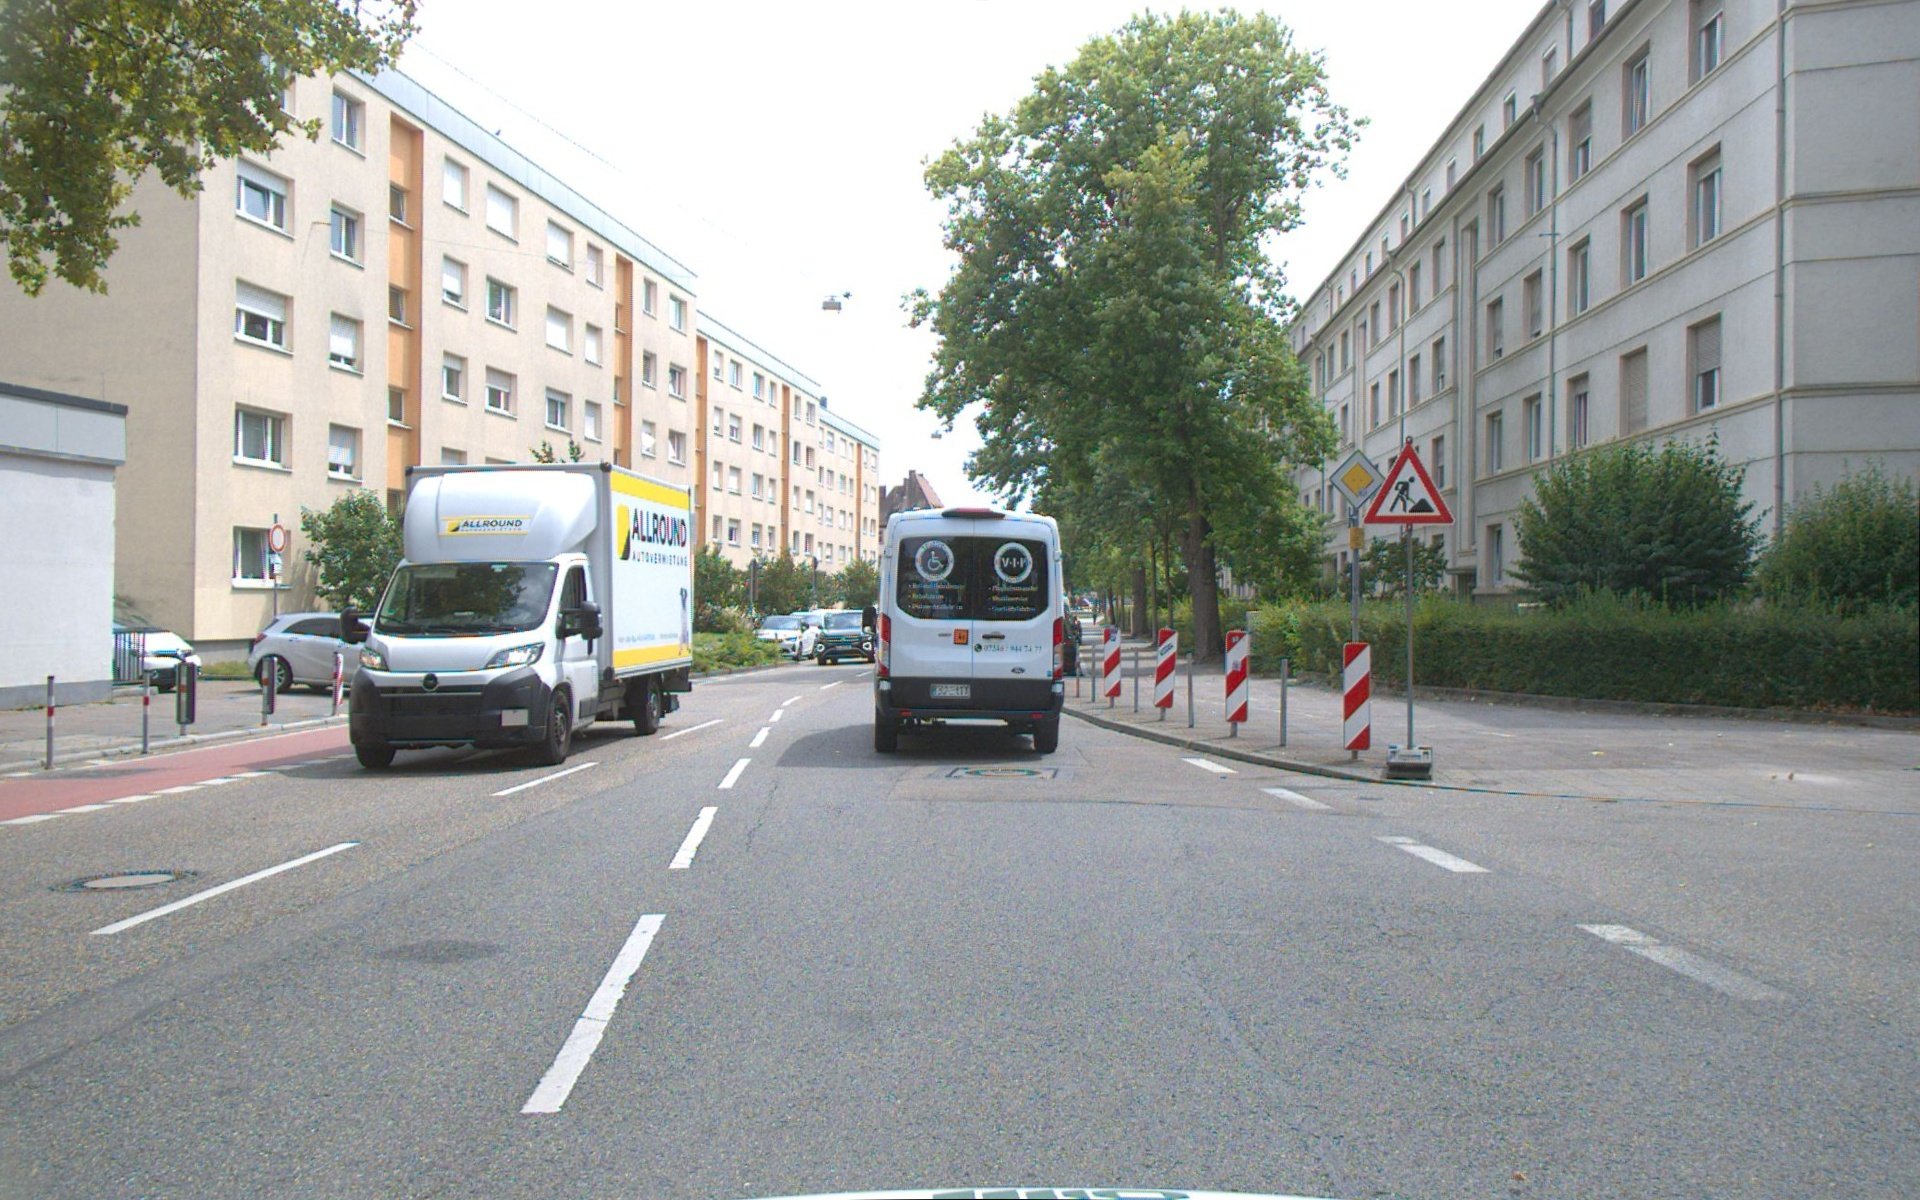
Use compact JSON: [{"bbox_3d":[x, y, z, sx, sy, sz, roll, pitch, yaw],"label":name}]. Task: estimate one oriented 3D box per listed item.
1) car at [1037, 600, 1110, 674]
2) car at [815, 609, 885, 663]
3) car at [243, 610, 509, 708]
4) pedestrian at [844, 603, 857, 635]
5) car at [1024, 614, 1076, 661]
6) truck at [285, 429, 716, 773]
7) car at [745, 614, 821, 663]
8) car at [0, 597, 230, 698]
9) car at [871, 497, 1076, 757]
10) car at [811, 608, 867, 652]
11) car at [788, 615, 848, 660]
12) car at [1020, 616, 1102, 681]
[{"bbox_3d":[3.233,1.003,46.366,1.877,1.898,4.849,2,0,5],"label":"car"},{"bbox_3d":[-3.326,1.072,50.607,1.662,1.545,4.001,-1,0,3],"label":"car"},{"bbox_3d":[-10.581,1.042,30.111,4.084,1.476,1.850,4,0,6],"label":"car"},{"bbox_3d":[-6.484,1.134,98.016,0.607,1.845,0.899,1,-1,1],"label":"pedestrian"},{"bbox_3d":[2.987,1.224,55.606,1.662,1.475,4.102,1,0,2],"label":"car"},{"bbox_3d":[-4.850,0.028,19.060,2.488,3.162,7.024,-2,0,4],"label":"truck"},{"bbox_3d":[-5.803,1.240,54.596,1.672,1.498,3.991,2,0,5],"label":"car"},{"bbox_3d":[-15.728,0.846,29.674,4.532,1.715,1.851,-1,0,10],"label":"car"},{"bbox_3d":[0.213,0.300,18.894,2.027,2.585,4.635,-1,-1,2],"label":"car"},{"bbox_3d":[-4.872,1.190,67.097,1.662,1.641,4.479,2,0,3],"label":"car"},{"bbox_3d":[-5.116,1.335,60.006,1.673,1.498,3.990,2,0,2],"label":"car"},{"bbox_3d":[2.524,1.144,40.603,1.877,1.469,4.241,1,0,5],"label":"car"}]
